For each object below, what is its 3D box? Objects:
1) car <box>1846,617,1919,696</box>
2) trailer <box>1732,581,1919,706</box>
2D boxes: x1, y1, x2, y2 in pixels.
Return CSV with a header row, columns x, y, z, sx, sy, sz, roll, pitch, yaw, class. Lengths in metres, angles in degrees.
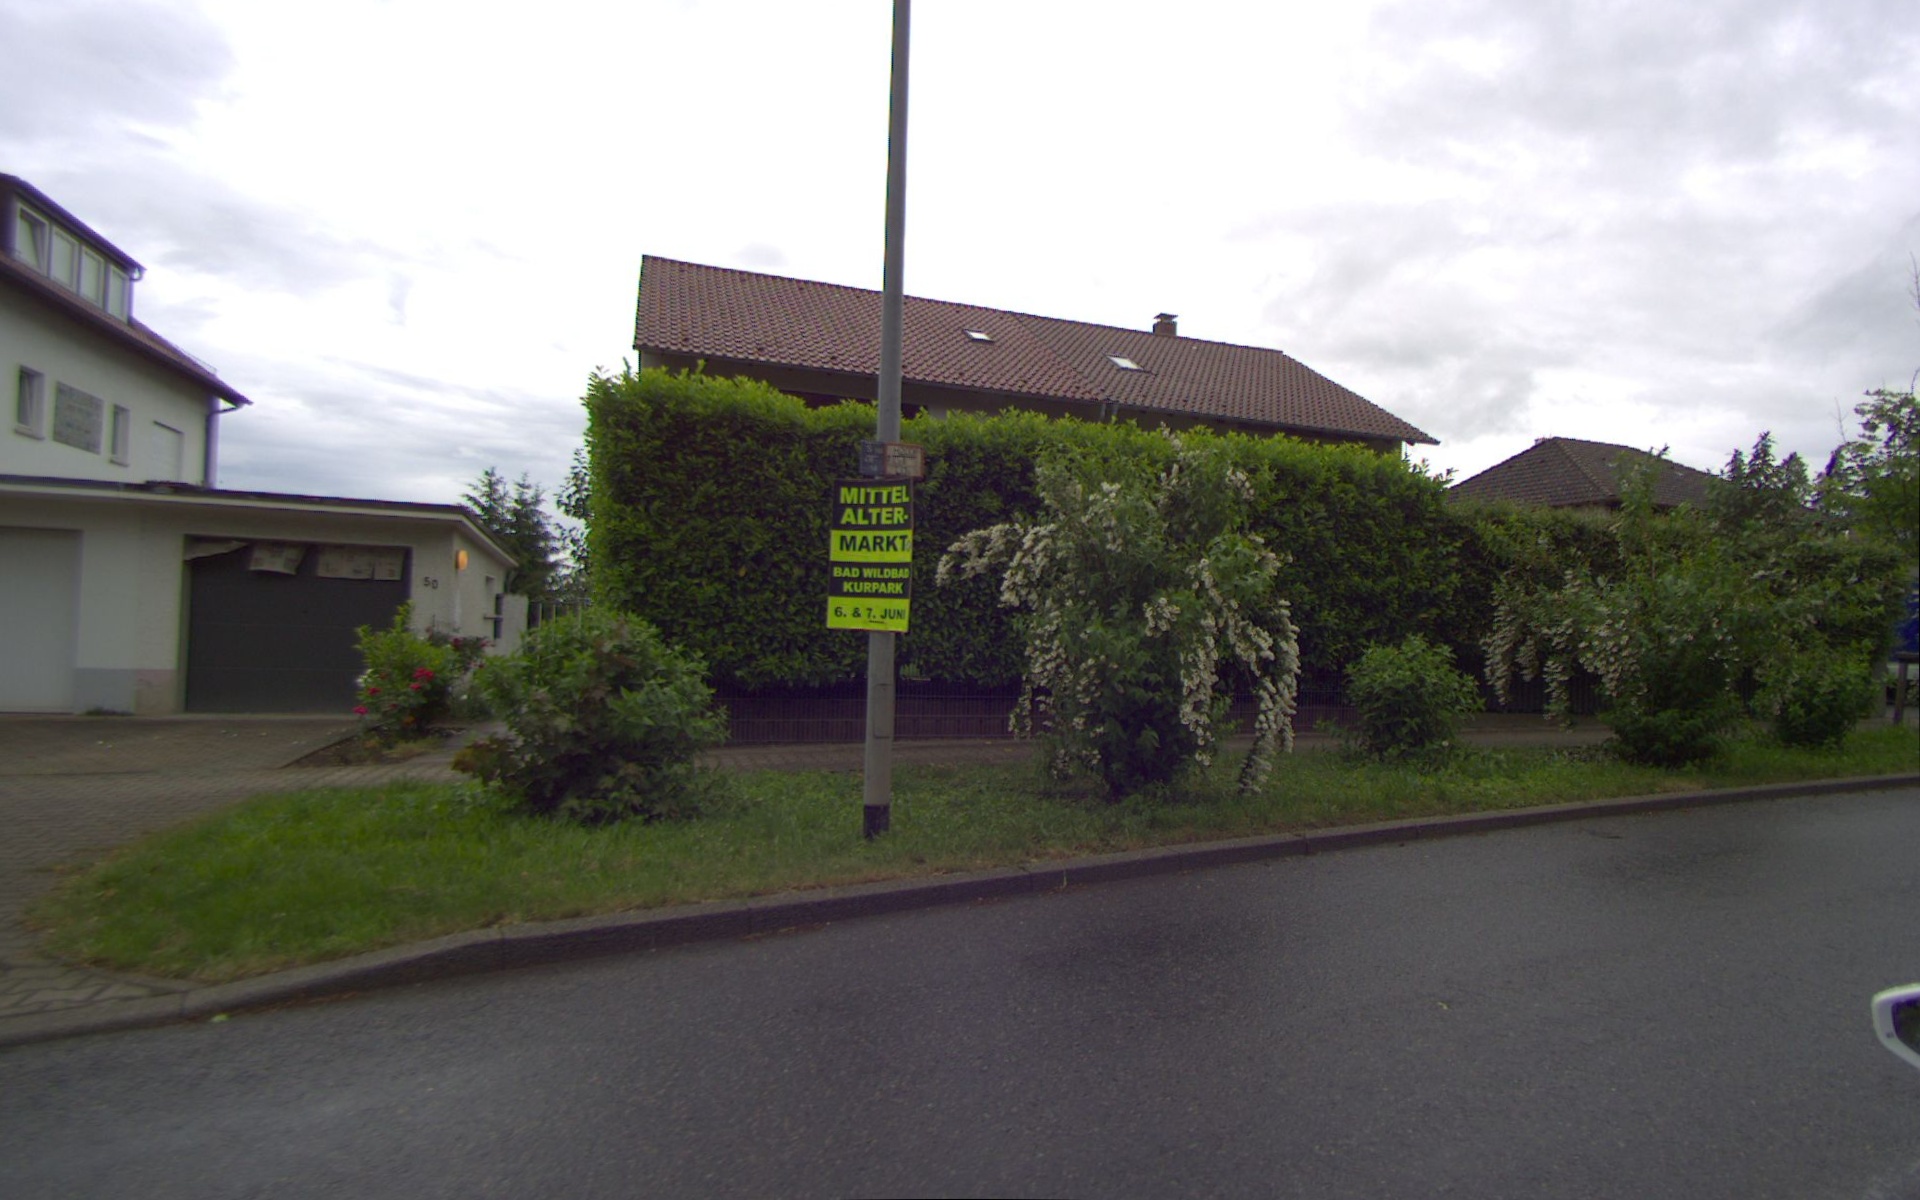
x,y,z,sx,sy,sz,roll,pitch,yaw,class
20.527,1.162,19.750,2.021,1.560,4.233,1,-1,-20,car
17.391,0.781,18.654,1.787,2.200,4.614,1,-1,-20,trailer
